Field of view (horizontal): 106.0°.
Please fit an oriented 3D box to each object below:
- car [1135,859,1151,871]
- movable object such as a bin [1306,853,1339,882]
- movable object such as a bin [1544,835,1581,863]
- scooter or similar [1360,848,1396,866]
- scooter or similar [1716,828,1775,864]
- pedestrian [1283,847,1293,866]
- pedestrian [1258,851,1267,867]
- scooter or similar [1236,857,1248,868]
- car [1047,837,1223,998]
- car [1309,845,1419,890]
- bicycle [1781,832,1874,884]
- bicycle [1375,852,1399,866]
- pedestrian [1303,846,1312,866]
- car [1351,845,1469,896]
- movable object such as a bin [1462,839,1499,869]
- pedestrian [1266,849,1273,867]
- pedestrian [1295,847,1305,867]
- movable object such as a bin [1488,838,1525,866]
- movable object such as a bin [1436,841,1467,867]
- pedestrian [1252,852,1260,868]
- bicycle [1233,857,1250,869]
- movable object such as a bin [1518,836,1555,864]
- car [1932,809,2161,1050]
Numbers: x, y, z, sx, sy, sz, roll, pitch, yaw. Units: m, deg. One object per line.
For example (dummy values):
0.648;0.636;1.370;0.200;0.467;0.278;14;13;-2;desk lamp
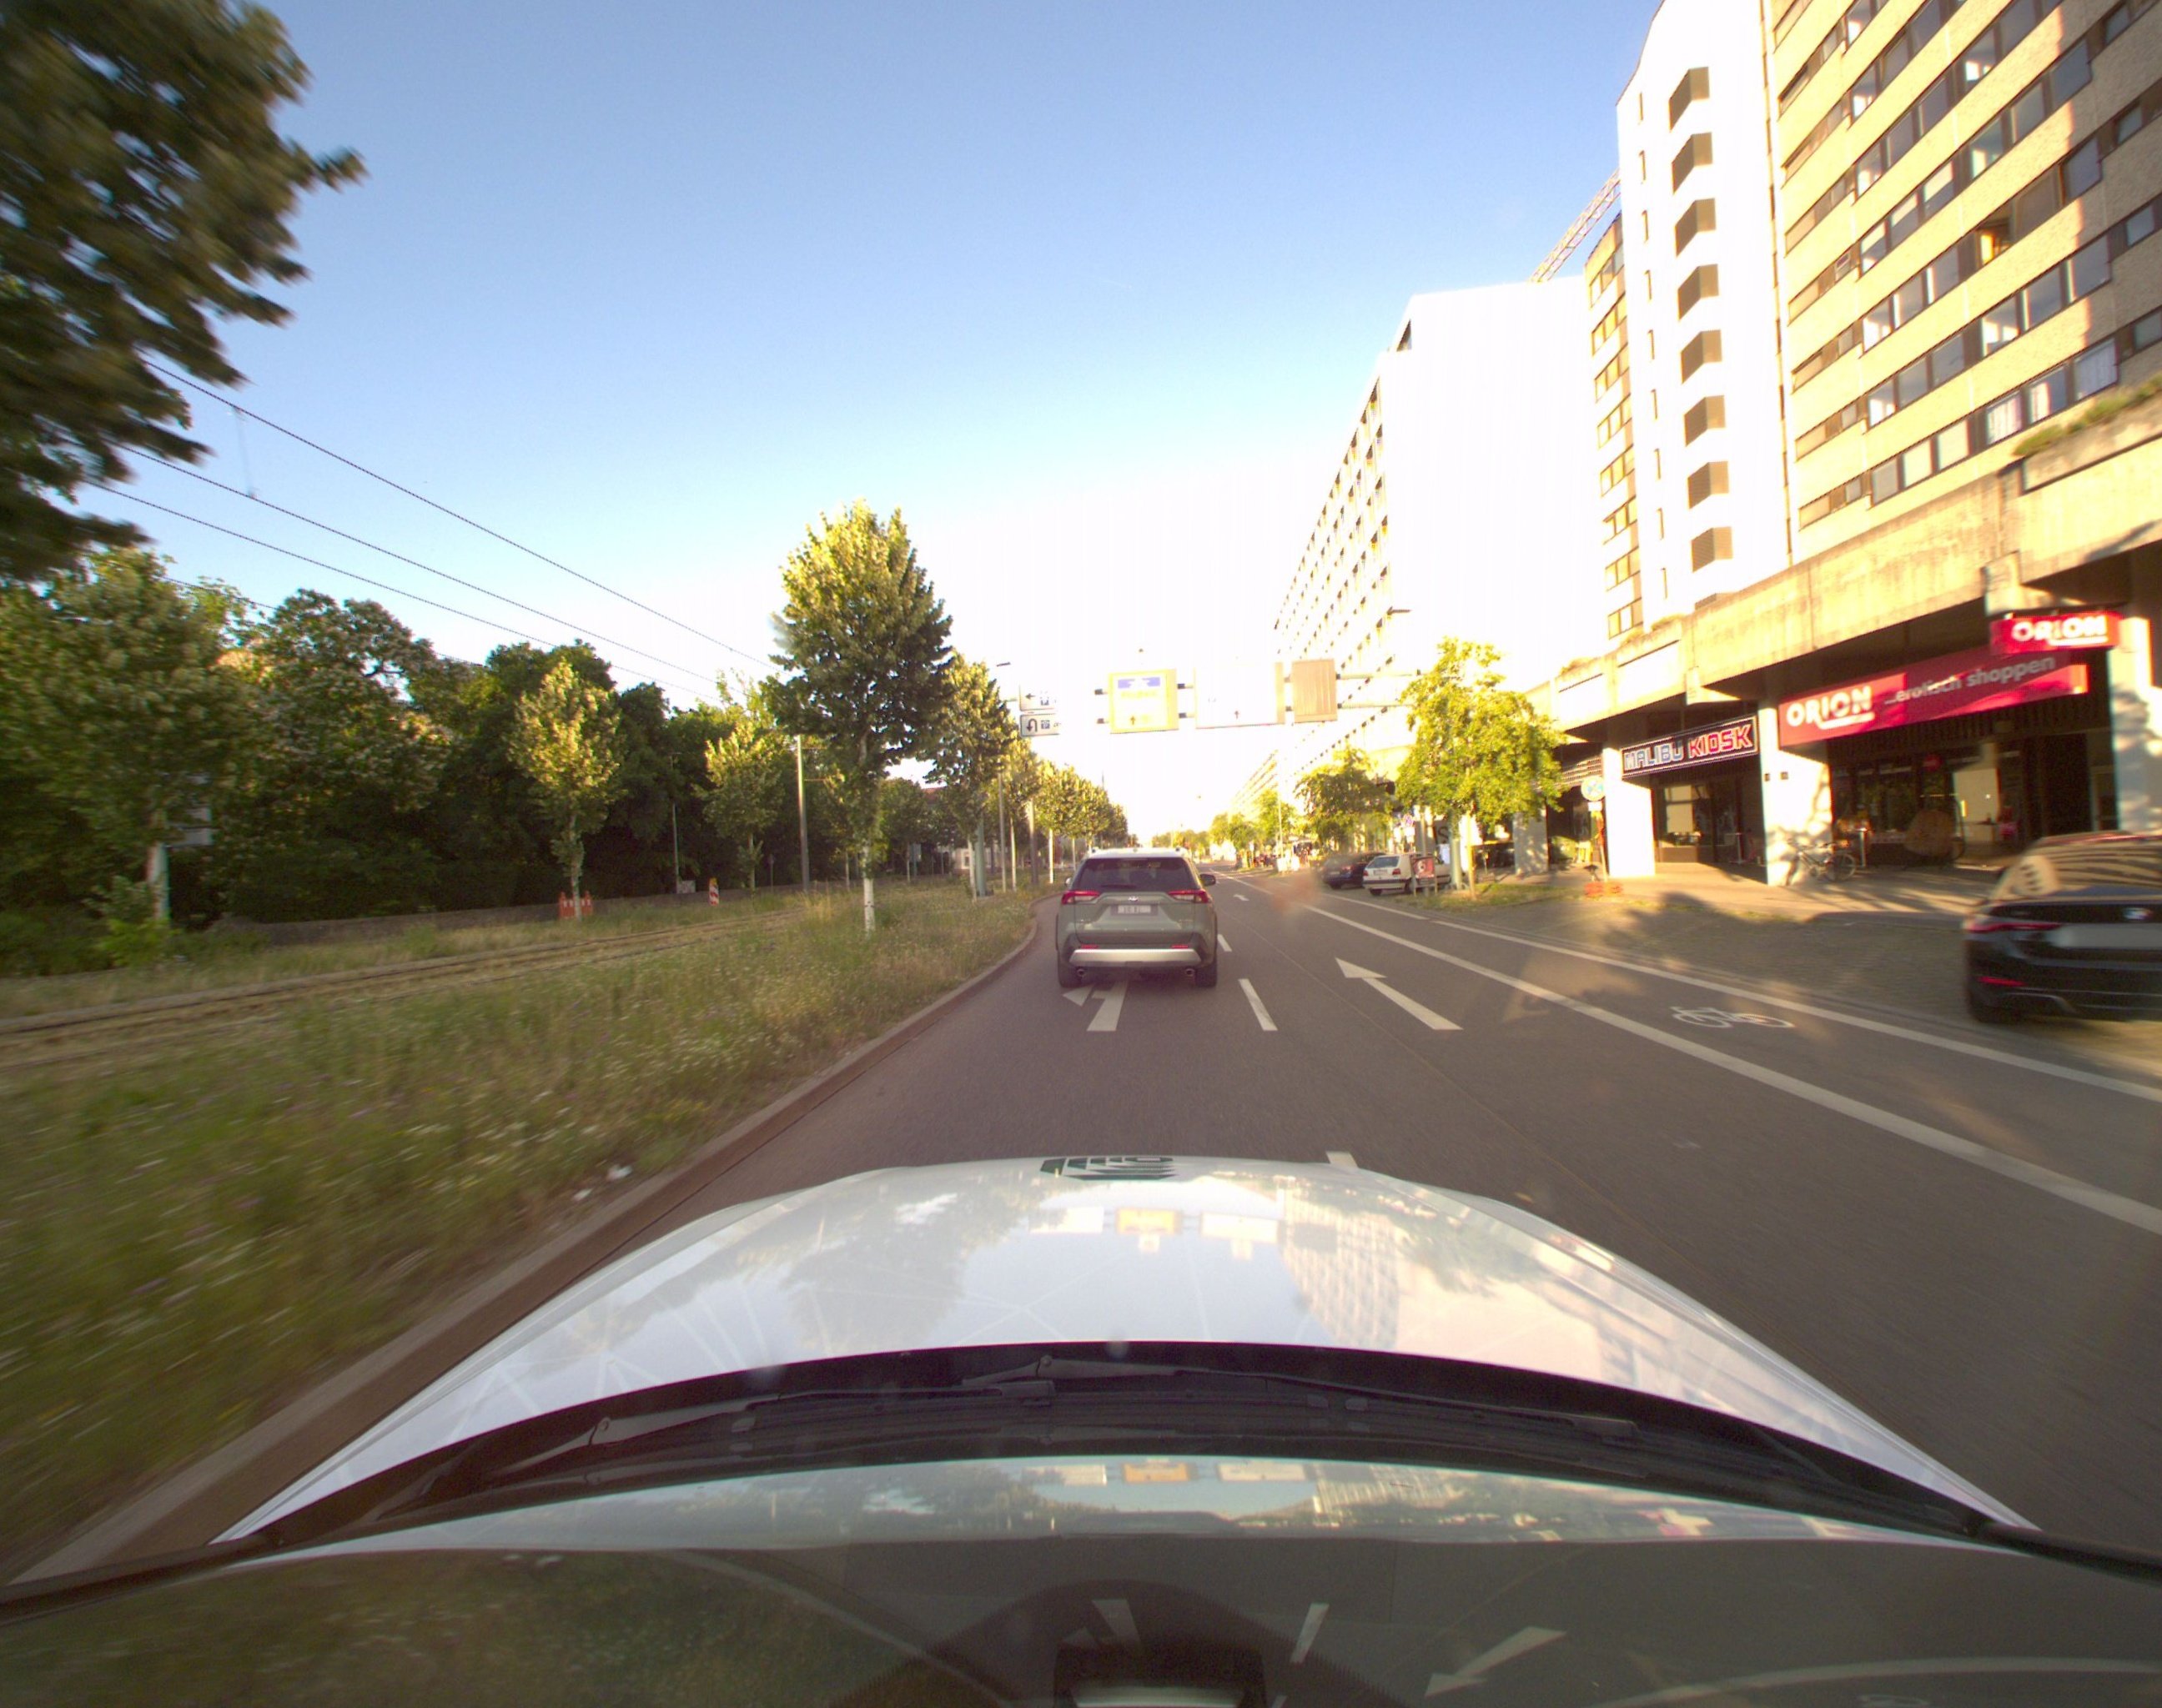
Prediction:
7.459;1.343;97.874;1.665;1.352;4.007;-1;0;6;car
11.886;0.675;40.125;1.081;1.301;1.361;-5;-1;0;movable object such as a bin
23.583;-0.239;39.907;1.176;1.313;1.089;-3;0;5;movable object such as a bin
22.048;0.214;60.464;2.360;1.183;0.621;-4;-1;5;scooter or similar
22.248;-0.269;27.317;0.400;1.161;1.828;-1;0;-3;scooter or similar
21.326;0.242;83.927;0.818;1.888;0.869;-5;-2;14;pedestrian
20.391;0.583;91.456;0.681;1.735;0.762;-5;-1;6;pedestrian
18.851;0.986;95.369;1.205;1.201;0.480;-5;-1;1;scooter or similar
0.797;0.682;10.775;1.824;1.672;4.290;-2;0;6;car
12.160;0.563;34.918;4.688;1.508;1.919;-4;-1;-33;car
16.988;0.086;18.557;1.565;1.048;0.434;-5;-1;4;bicycle
21.428;0.372;57.052;1.414;0.891;0.458;-3;-1;5;bicycle
21.774;0.200;78.323;0.750;1.824;0.944;-5;-1;15;pedestrian
11.542;0.553;28.517;4.006;1.416;1.733;-4;-1;-32;car
19.628;-0.007;40.044;1.176;1.323;1.268;-5;-1;5;movable object such as a bin
19.800;0.442;85.401;0.572;1.786;0.832;-5;-2;14;pedestrian
21.080;0.256;78.422;0.738;1.849;0.944;-6;-2;15;pedestrian
20.897;-0.095;40.027;1.176;1.299;1.306;-3;0;5;movable object such as a bin
20.193;0.001;44.465;1.099;1.329;1.285;-5;-1;5;movable object such as a bin
19.656;0.660;91.412;0.650;1.702;0.690;-5;-1;6;pedestrian
18.930;1.080;95.910;1.787;1.193;0.568;-5;-1;1;bicycle
22.359;-0.181;39.986;1.176;1.313;1.126;-3;0;5;movable object such as a bin
8.821;0.415;6.678;4.626;1.453;1.794;-4;0;-35;car
